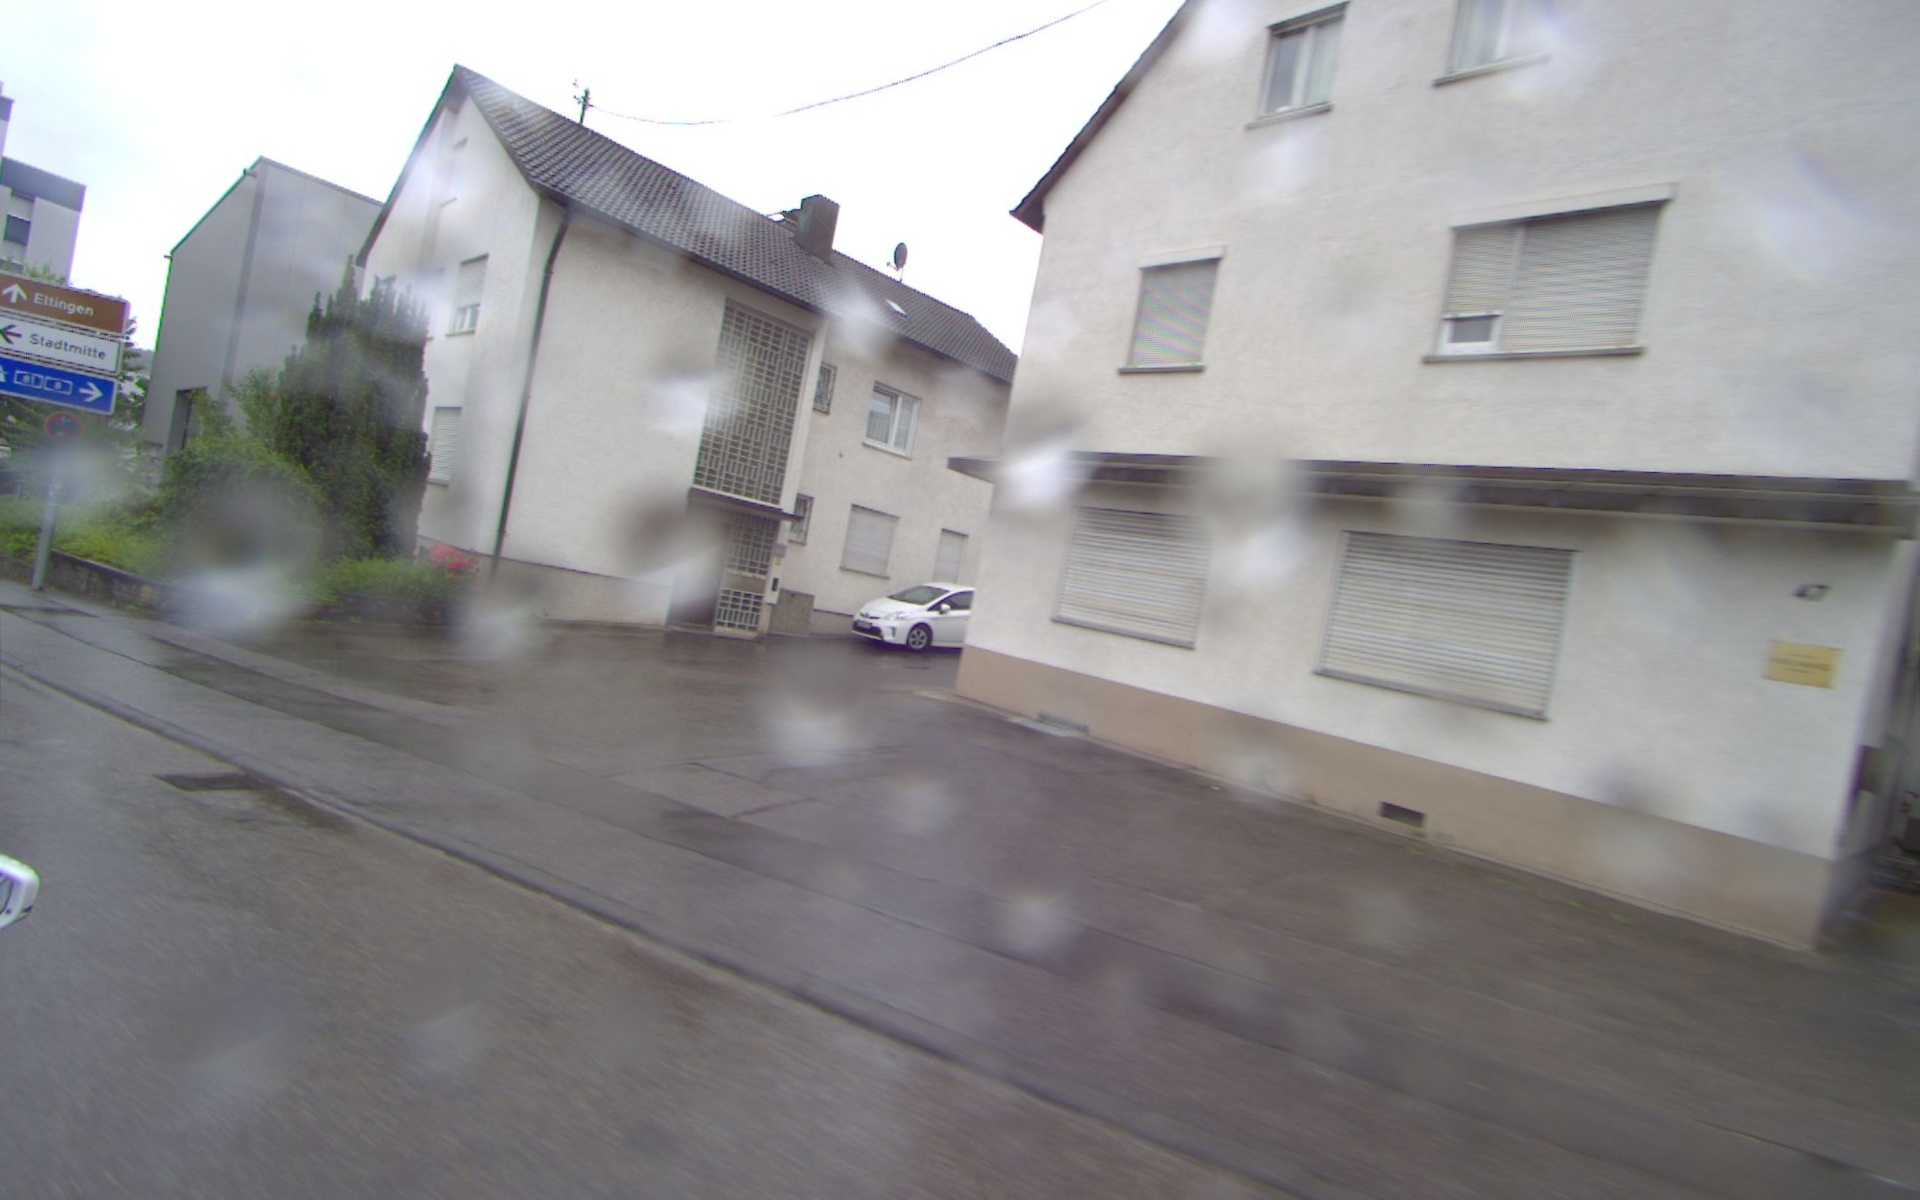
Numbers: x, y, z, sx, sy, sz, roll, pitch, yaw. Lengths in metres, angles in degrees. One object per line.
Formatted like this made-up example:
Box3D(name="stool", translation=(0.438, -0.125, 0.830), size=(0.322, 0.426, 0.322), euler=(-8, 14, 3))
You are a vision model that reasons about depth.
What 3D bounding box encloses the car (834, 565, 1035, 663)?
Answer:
Box3D(name="car", translation=(-0.509, 0.356, 22.957), size=(4.268, 1.618, 1.781), euler=(7, 3, -41))
